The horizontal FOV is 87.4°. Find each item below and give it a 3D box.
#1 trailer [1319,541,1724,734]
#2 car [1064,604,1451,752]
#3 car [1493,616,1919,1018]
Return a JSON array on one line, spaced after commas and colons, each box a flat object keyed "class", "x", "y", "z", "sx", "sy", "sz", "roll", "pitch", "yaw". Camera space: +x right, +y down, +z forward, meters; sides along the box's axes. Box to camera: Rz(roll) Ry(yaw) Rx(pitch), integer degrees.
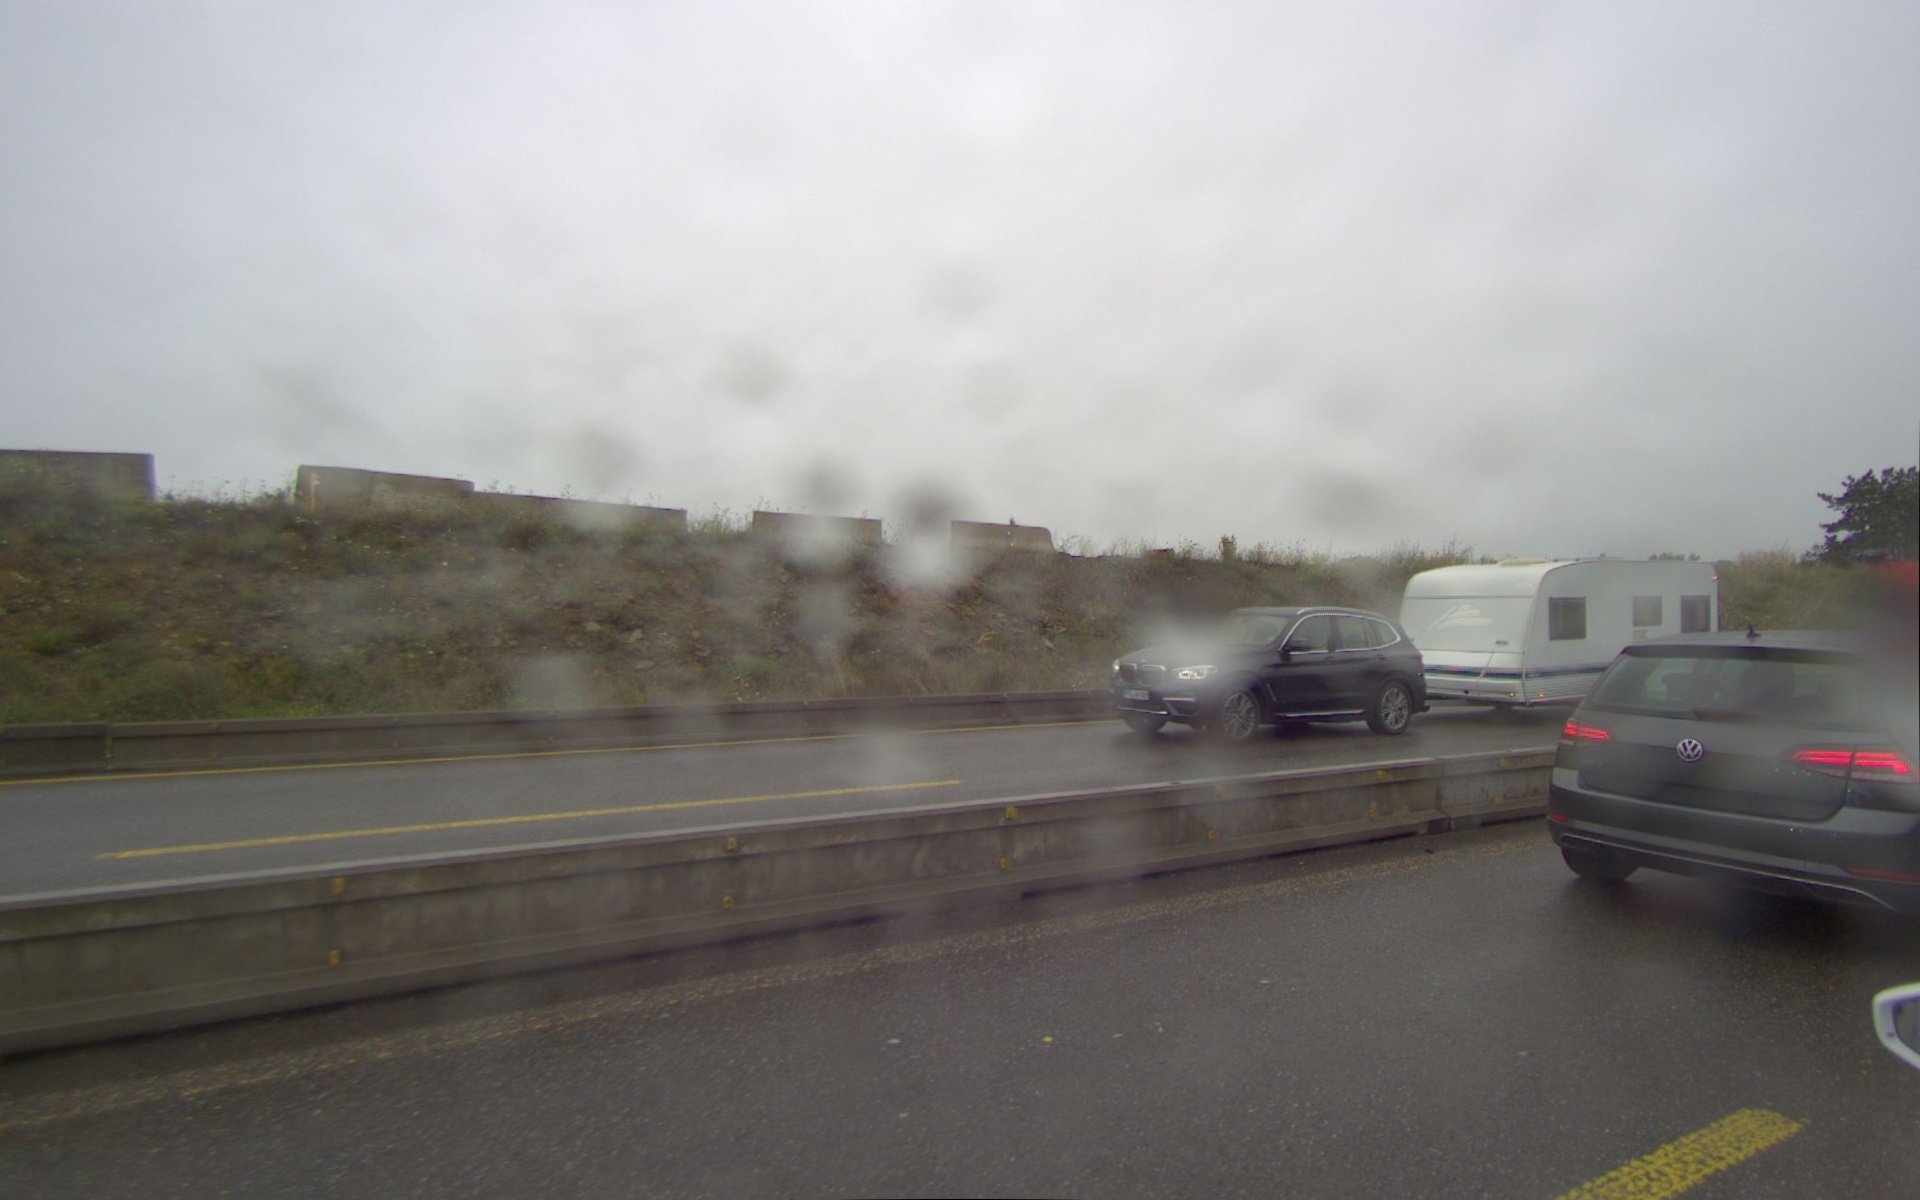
[{"class": "trailer", "x": 9.308, "y": 0.555, "z": 16.402, "sx": 7.077, "sy": 2.599, "sz": 2.498, "roll": 1, "pitch": 0, "yaw": -30}, {"class": "car", "x": 4.007, "y": 0.908, "z": 13.275, "sx": 5.058, "sy": 1.608, "sz": 1.984, "roll": 1, "pitch": 0, "yaw": -30}, {"class": "car", "x": 5.052, "y": 0.908, "z": 5.615, "sx": 4.316, "sy": 1.526, "sz": 1.607, "roll": 2, "pitch": -3, "yaw": -30}]
